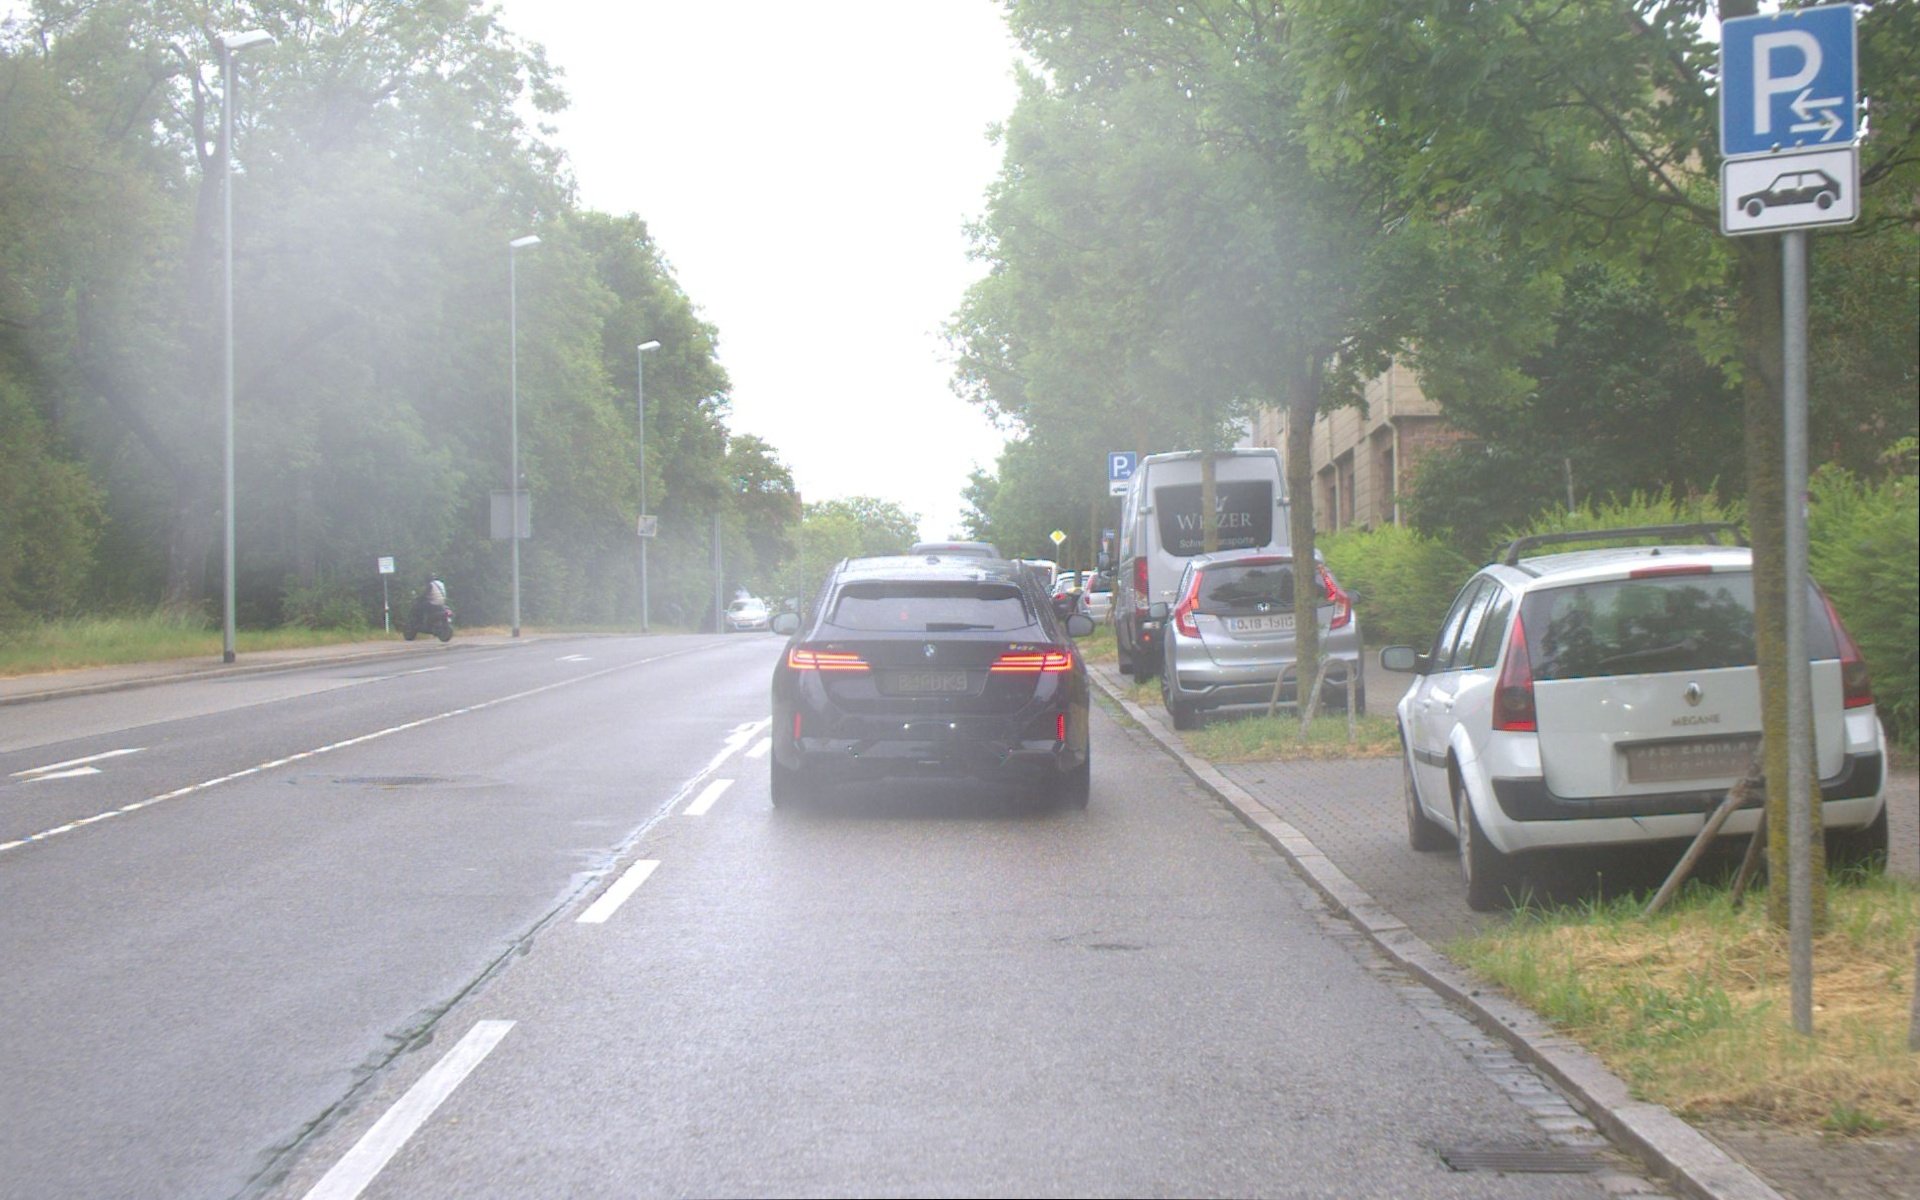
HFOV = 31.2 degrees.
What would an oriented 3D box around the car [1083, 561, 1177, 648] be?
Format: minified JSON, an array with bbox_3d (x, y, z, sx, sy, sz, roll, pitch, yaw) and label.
[{"bbox_3d":[3.462,0.062,70.680,1.702,1.579,4.642,-4,1,2],"label":"car"}]

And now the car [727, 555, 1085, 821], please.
[{"bbox_3d":[-0.333,0.501,21.558,1.993,1.448,4.000,2,0,-1],"label":"car"}]

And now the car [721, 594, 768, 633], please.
[{"bbox_3d":[-8.655,0.548,138.372,1.689,1.478,4.452,-3,0,-1],"label":"car"}]

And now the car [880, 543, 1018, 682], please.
[{"bbox_3d":[-0.135,0.193,51.859,1.993,2.007,4.000,0,0,1],"label":"car"}]

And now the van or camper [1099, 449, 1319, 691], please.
[{"bbox_3d":[2.962,-0.386,42.478,2.198,2.642,7.301,-2,1,1],"label":"van or camper"}]

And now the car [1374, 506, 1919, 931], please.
[{"bbox_3d":[2.983,0.433,15.727,1.824,1.597,4.473,-2,1,3],"label":"car"}]

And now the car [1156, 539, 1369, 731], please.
[{"bbox_3d":[2.658,0.281,30.903,1.668,1.523,3.831,-4,0,3],"label":"car"}]

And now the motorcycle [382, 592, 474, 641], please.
[{"bbox_3d":[-12.608,0.380,81.432,2.186,1.114,0.822,1,1,35],"label":"motorcycle"}]

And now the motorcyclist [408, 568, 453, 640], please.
[{"bbox_3d":[-12.535,0.085,81.385,0.650,1.675,0.812,1,1,34],"label":"motorcyclist"}]
